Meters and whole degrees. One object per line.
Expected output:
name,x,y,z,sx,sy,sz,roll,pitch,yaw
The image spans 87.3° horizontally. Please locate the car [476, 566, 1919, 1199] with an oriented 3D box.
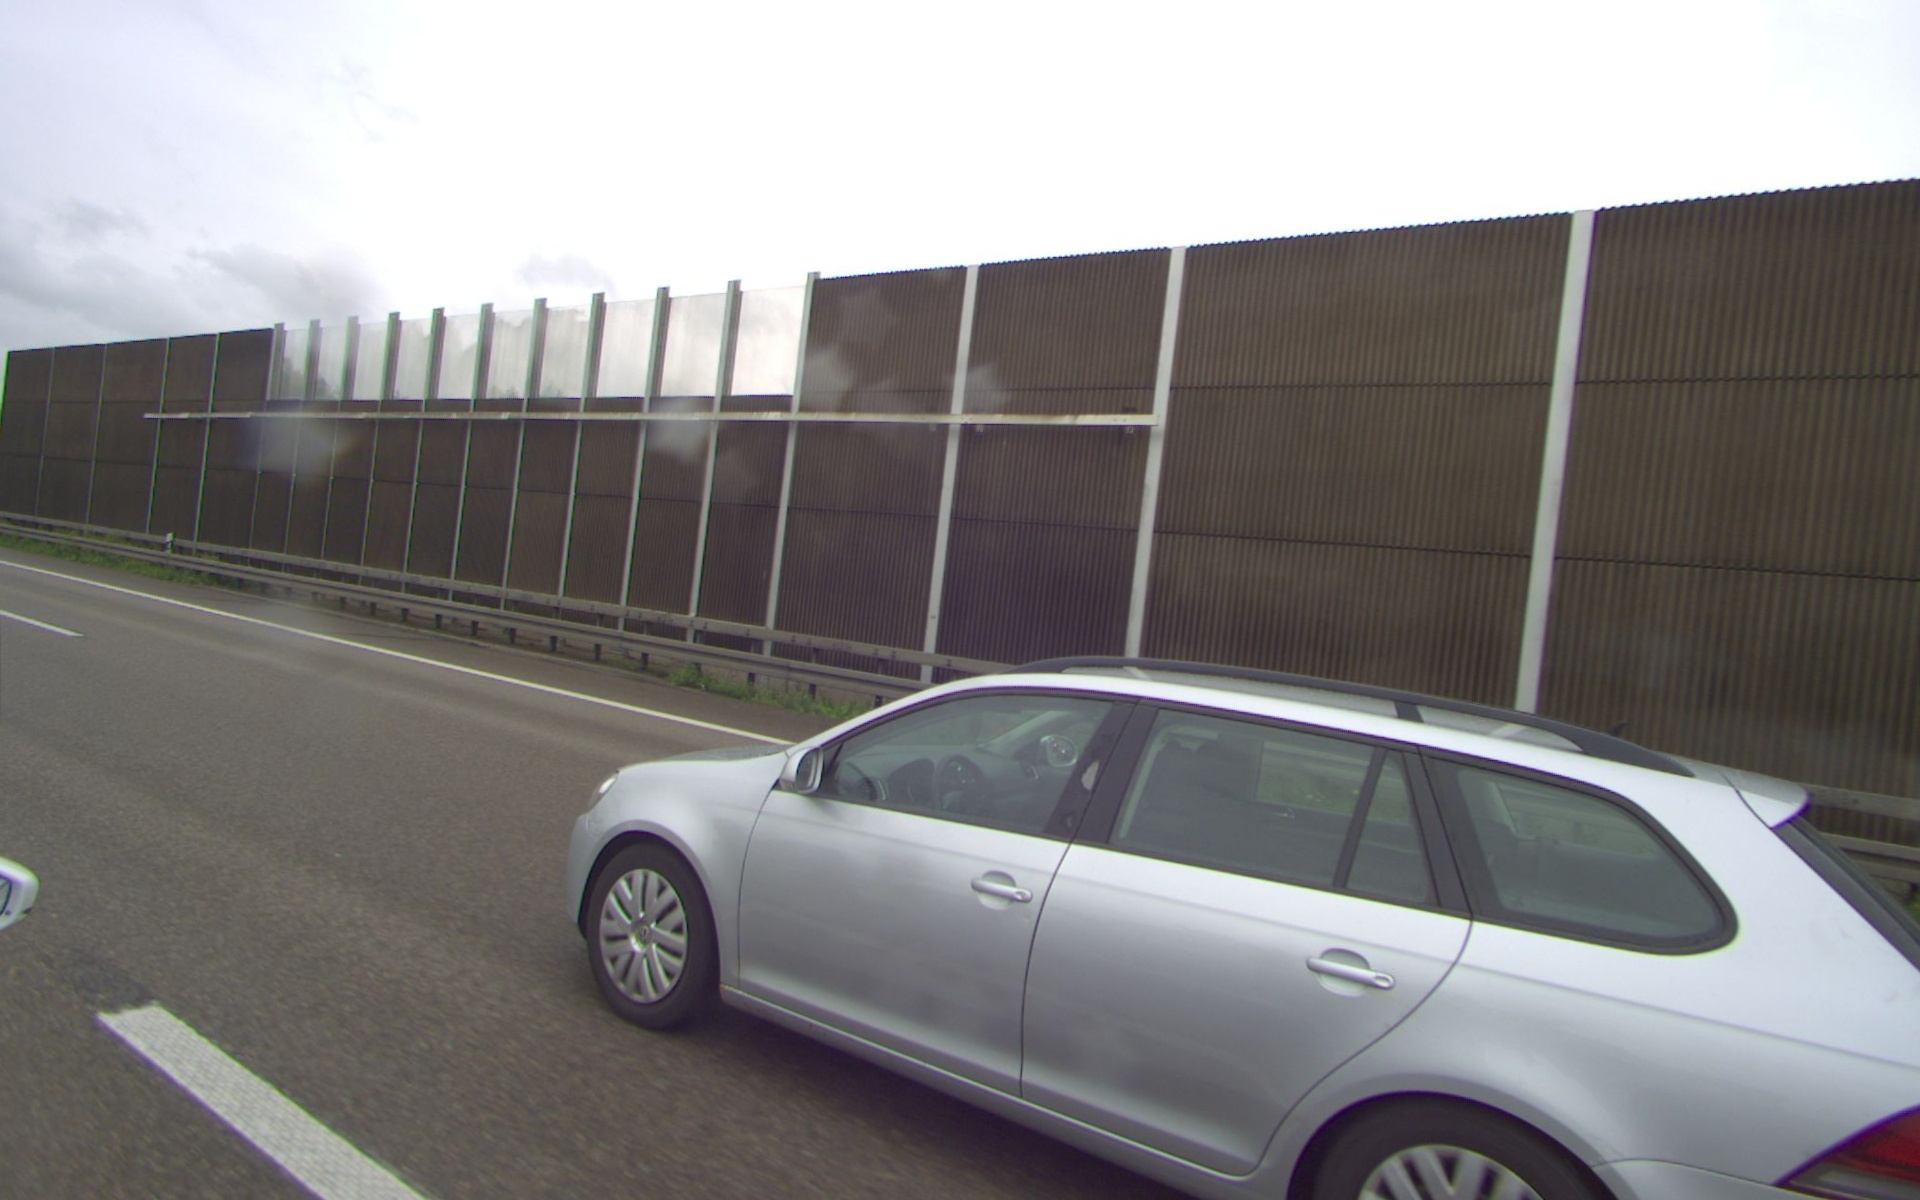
car,0.554,0.870,3.433,4.442,1.442,1.744,6,-1,31
